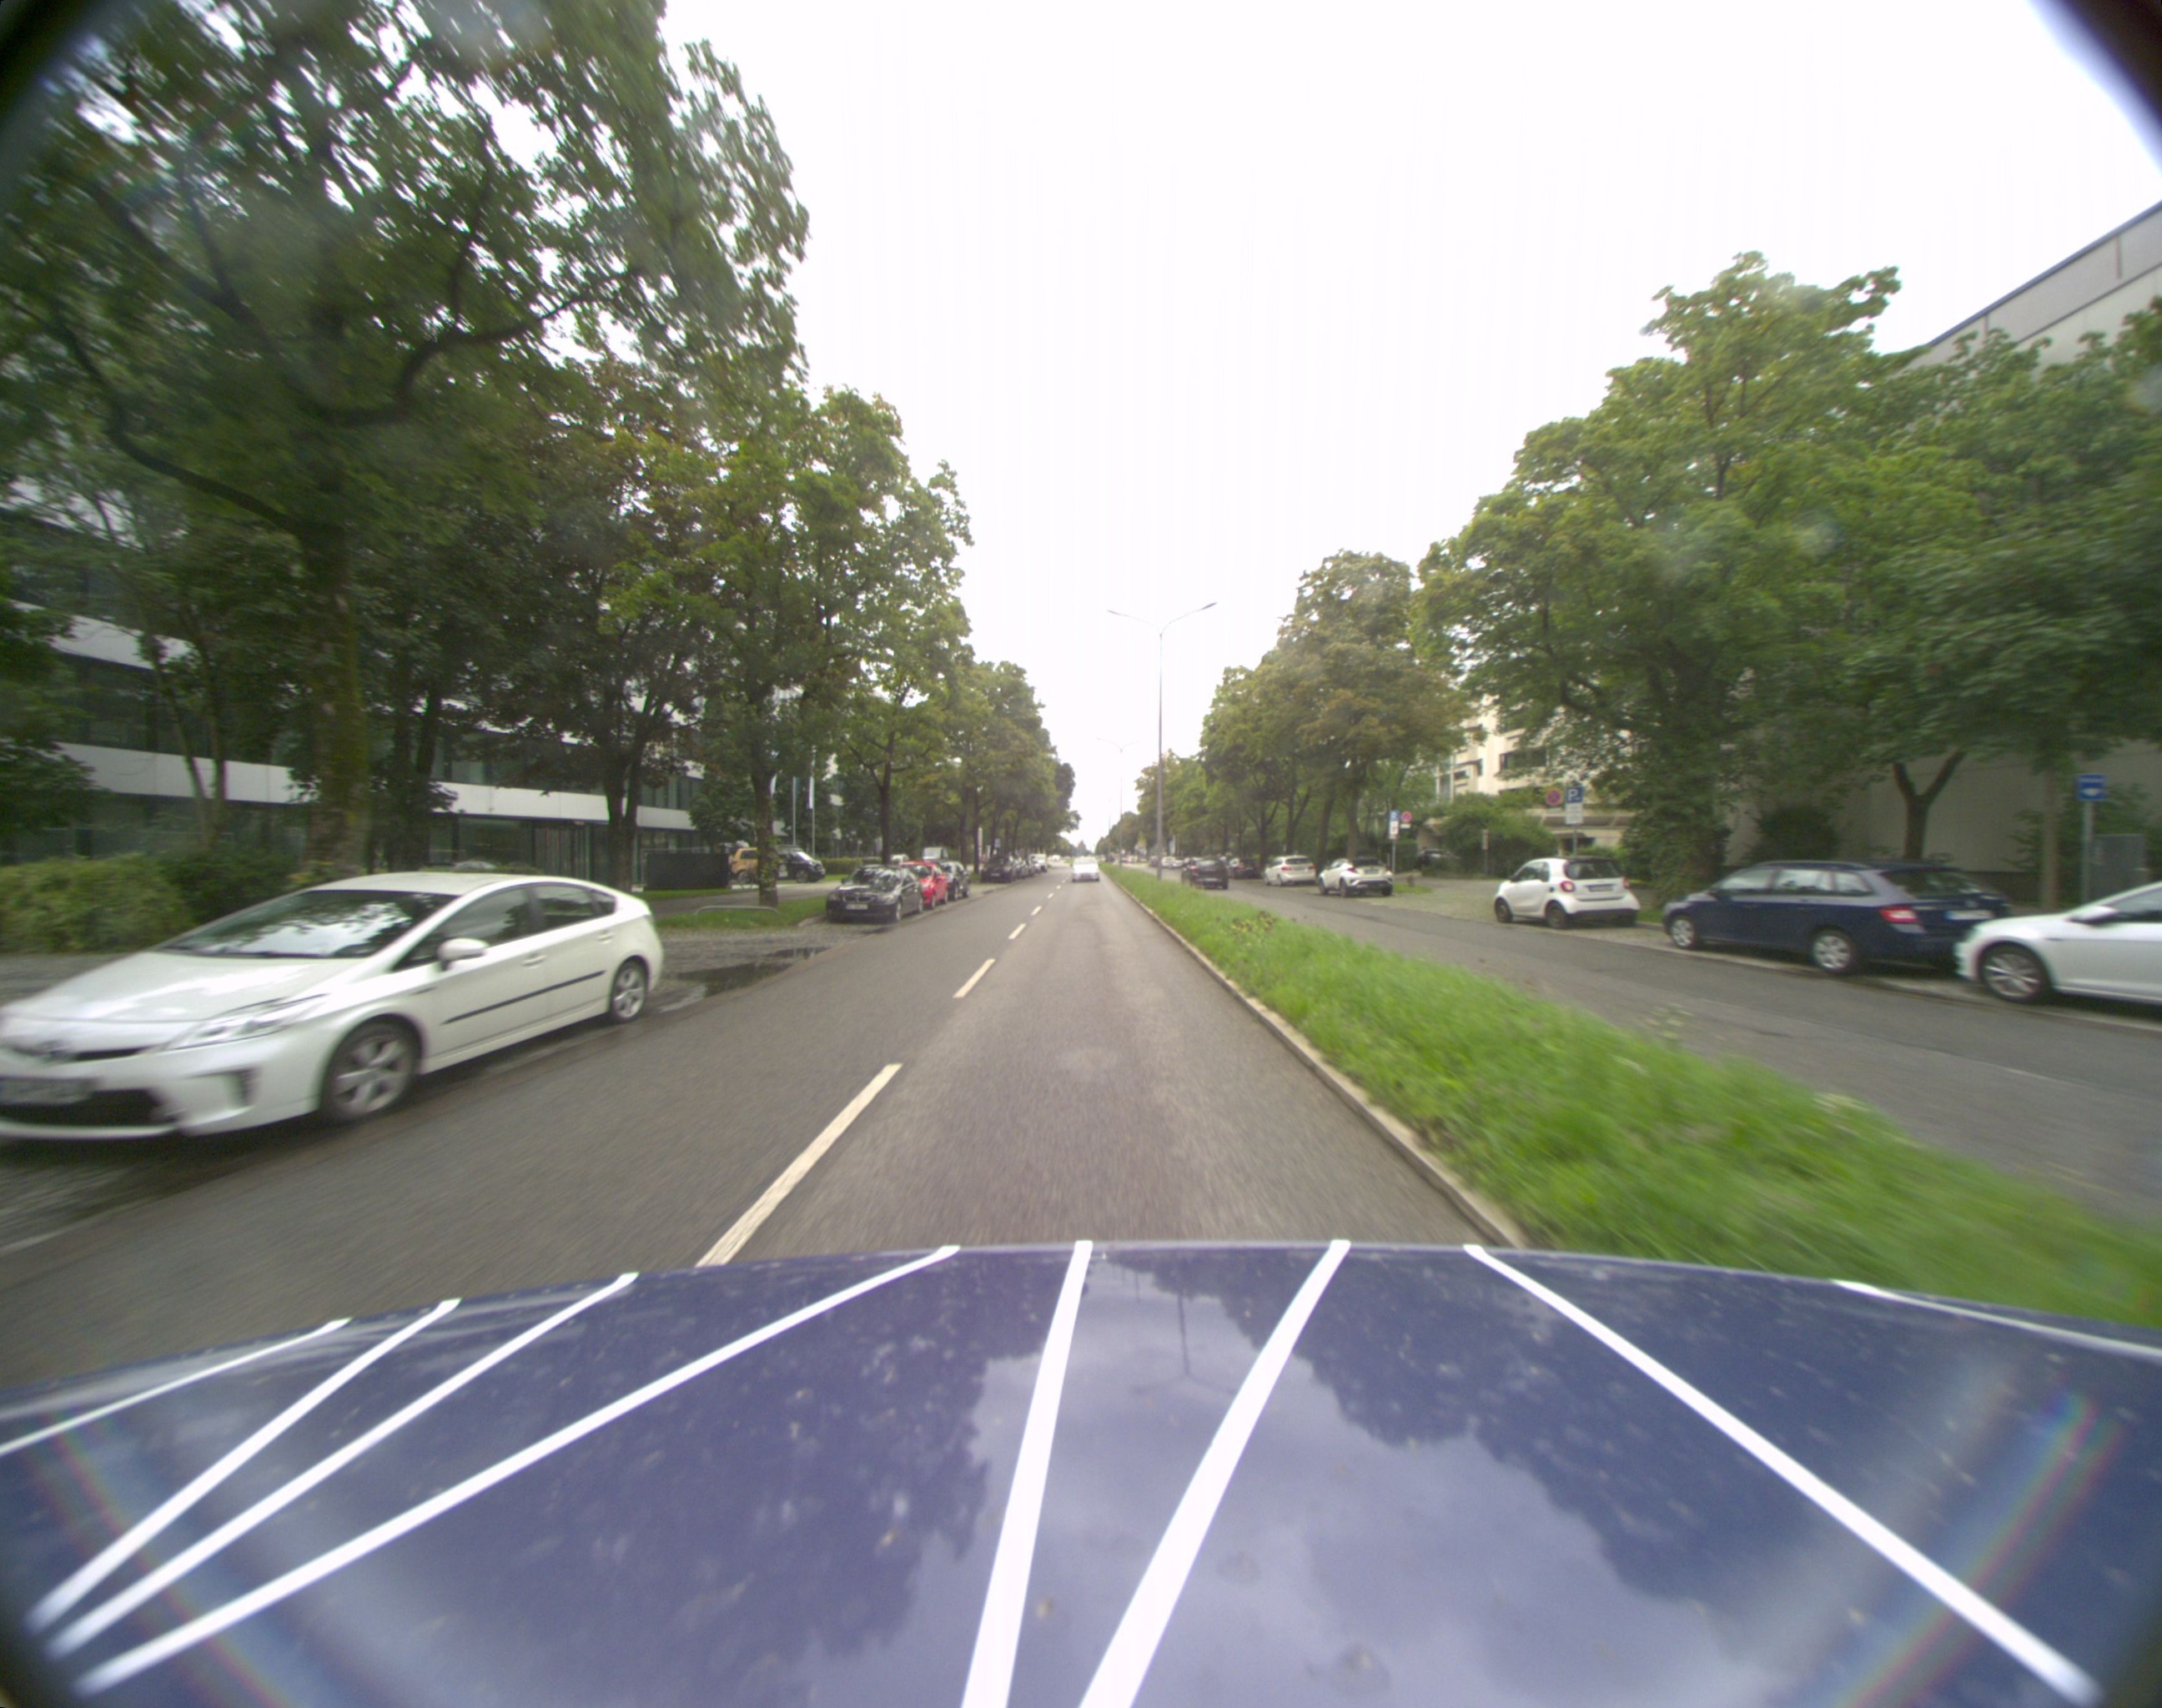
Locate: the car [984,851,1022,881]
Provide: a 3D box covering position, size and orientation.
[{"bbox_3d":[-4.885,0.724,48.333,1.897,1.789,4.861,0,0,0],"label":"car"}]

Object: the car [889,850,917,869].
[{"bbox_3d":[-17.712,0.496,75.860,1.847,1.807,4.471,0,0,-1],"label":"car"}]

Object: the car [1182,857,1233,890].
[{"bbox_3d":[5.814,0.865,35.408,1.743,1.432,4.215,0,0,1],"label":"car"}]

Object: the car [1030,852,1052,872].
[{"bbox_3d":[-4.397,0.879,83.615,1.992,2.145,5.555,0,0,1],"label":"car"}]

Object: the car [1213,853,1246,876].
[{"bbox_3d":[11.030,0.745,56.731,1.689,1.587,4.210,-3,0,1],"label":"car"}]

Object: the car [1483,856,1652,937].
[{"bbox_3d":[10.756,0.874,17.061,1.695,1.556,3.079,-3,0,-1],"label":"car"}]

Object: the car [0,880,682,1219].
[{"bbox_3d":[-5.291,1.034,6.018,1.765,1.445,4.632,2,0,0],"label":"car"}]

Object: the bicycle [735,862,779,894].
[{"bbox_3d":[-12.703,0.916,29.854,0.750,1.176,2.246,0,0,0],"label":"bicycle"}]

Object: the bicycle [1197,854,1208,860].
[{"bbox_3d":[20.188,0.502,126.673,1.766,1.001,0.436,0,0,0],"label":"bicycle"}]

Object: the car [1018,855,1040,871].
[{"bbox_3d":[-4.837,0.857,71.517,1.706,1.438,3.978,0,0,1],"label":"car"}]

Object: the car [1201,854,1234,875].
[{"bbox_3d":[11.140,0.813,62.322,1.720,1.515,5.034,-3,0,0],"label":"car"}]

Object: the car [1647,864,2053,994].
[{"bbox_3d":[10.615,0.908,11.055,1.678,1.466,4.215,0,0,1],"label":"car"}]

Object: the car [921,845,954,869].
[{"bbox_3d":[-14.328,0.253,76.410,2.271,2.293,6.267,0,0,-1],"label":"car"}]

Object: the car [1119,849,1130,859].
[{"bbox_3d":[9.714,-0.008,171.081,2.215,2.181,5.799,0,0,0],"label":"car"}]

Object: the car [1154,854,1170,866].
[{"bbox_3d":[11.804,0.812,110.644,1.743,1.642,4.605,-2,0,-1],"label":"car"}]

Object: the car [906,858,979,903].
[{"bbox_3d":[-5.214,0.962,29.152,1.783,1.502,4.285,2,0,2],"label":"car"}]

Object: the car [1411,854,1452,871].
[{"bbox_3d":[24.486,0.579,53.137,1.459,1.192,3.127,0,0,1],"label":"car"}]

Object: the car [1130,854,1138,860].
[{"bbox_3d":[13.299,0.661,189.267,1.651,1.480,3.901,0,0,-1],"label":"car"}]

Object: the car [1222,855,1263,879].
[{"bbox_3d":[10.974,0.833,51.979,1.764,1.504,4.948,-3,0,1],"label":"car"}]

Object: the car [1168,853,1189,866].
[{"bbox_3d":[11.615,0.685,90.765,1.741,1.440,4.822,-3,0,0],"label":"car"}]

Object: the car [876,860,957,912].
[{"bbox_3d":[-5.246,0.972,24.690,1.679,1.492,4.021,2,0,0],"label":"car"}]

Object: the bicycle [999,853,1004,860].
[{"bbox_3d":[-13.737,0.402,131.357,0.531,1.219,1.862,0,0,4],"label":"bicycle"}]

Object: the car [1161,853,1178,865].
[{"bbox_3d":[11.651,0.637,100.559,1.743,1.521,4.475,-2,0,1],"label":"car"}]

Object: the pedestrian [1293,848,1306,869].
[{"bbox_3d":[17.182,0.376,59.690,0.850,1.646,0.609,0,1,6],"label":"pedestrian"}]

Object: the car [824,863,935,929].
[{"bbox_3d":[-5.214,1.030,20.266,1.679,1.445,4.582,2,0,0],"label":"car"}]

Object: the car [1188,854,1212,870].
[{"bbox_3d":[11.281,0.761,72.007,1.629,1.415,4.192,-3,0,1],"label":"car"}]

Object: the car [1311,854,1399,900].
[{"bbox_3d":[10.667,0.854,29.935,1.837,1.600,4.491,-3,0,1],"label":"car"}]

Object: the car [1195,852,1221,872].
[{"bbox_3d":[11.223,0.721,67.496,1.629,1.638,3.867,-3,0,1],"label":"car"}]

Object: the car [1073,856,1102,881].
[{"bbox_3d":[0.412,0.829,46.252,1.679,1.433,3.734,0,0,1],"label":"car"}]

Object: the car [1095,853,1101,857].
[{"bbox_3d":[5.717,0.383,259.571,1.962,1.471,4.259,0,0,1],"label":"car"}]

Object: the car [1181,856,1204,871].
[{"bbox_3d":[11.308,0.912,77.258,1.584,1.415,4.362,-3,0,0],"label":"car"}]

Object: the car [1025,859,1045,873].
[{"bbox_3d":[-4.688,1.227,77.285,1.706,1.389,4.233,0,0,1],"label":"car"}]

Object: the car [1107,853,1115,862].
[{"bbox_3d":[7.098,0.871,178.671,1.785,2.017,4.818,0,0,0],"label":"car"}]

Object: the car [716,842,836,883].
[{"bbox_3d":[-16.081,0.442,40.242,5.484,2.071,2.147,0,0,0],"label":"car"}]

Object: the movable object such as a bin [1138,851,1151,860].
[{"bbox_3d":[13.893,0.300,165.991,2.199,1.941,3.998,0,0,-5],"label":"movable object such as a bin"}]

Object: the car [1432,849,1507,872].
[{"bbox_3d":[25.196,0.407,49.363,3.987,1.409,1.862,0,0,-1],"label":"car"}]

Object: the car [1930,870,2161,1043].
[{"bbox_3d":[10.566,0.947,6.540,1.678,1.434,4.320,-3,0,1],"label":"car"}]

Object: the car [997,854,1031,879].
[{"bbox_3d":[-4.752,0.874,54.304,1.817,1.666,4.800,0,0,3],"label":"car"}]

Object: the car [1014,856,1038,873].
[{"bbox_3d":[-4.758,0.920,66.323,1.706,1.413,4.121,0,0,1],"label":"car"}]

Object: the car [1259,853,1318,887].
[{"bbox_3d":[10.825,0.803,39.905,1.761,1.585,4.489,-3,0,0],"label":"car"}]
